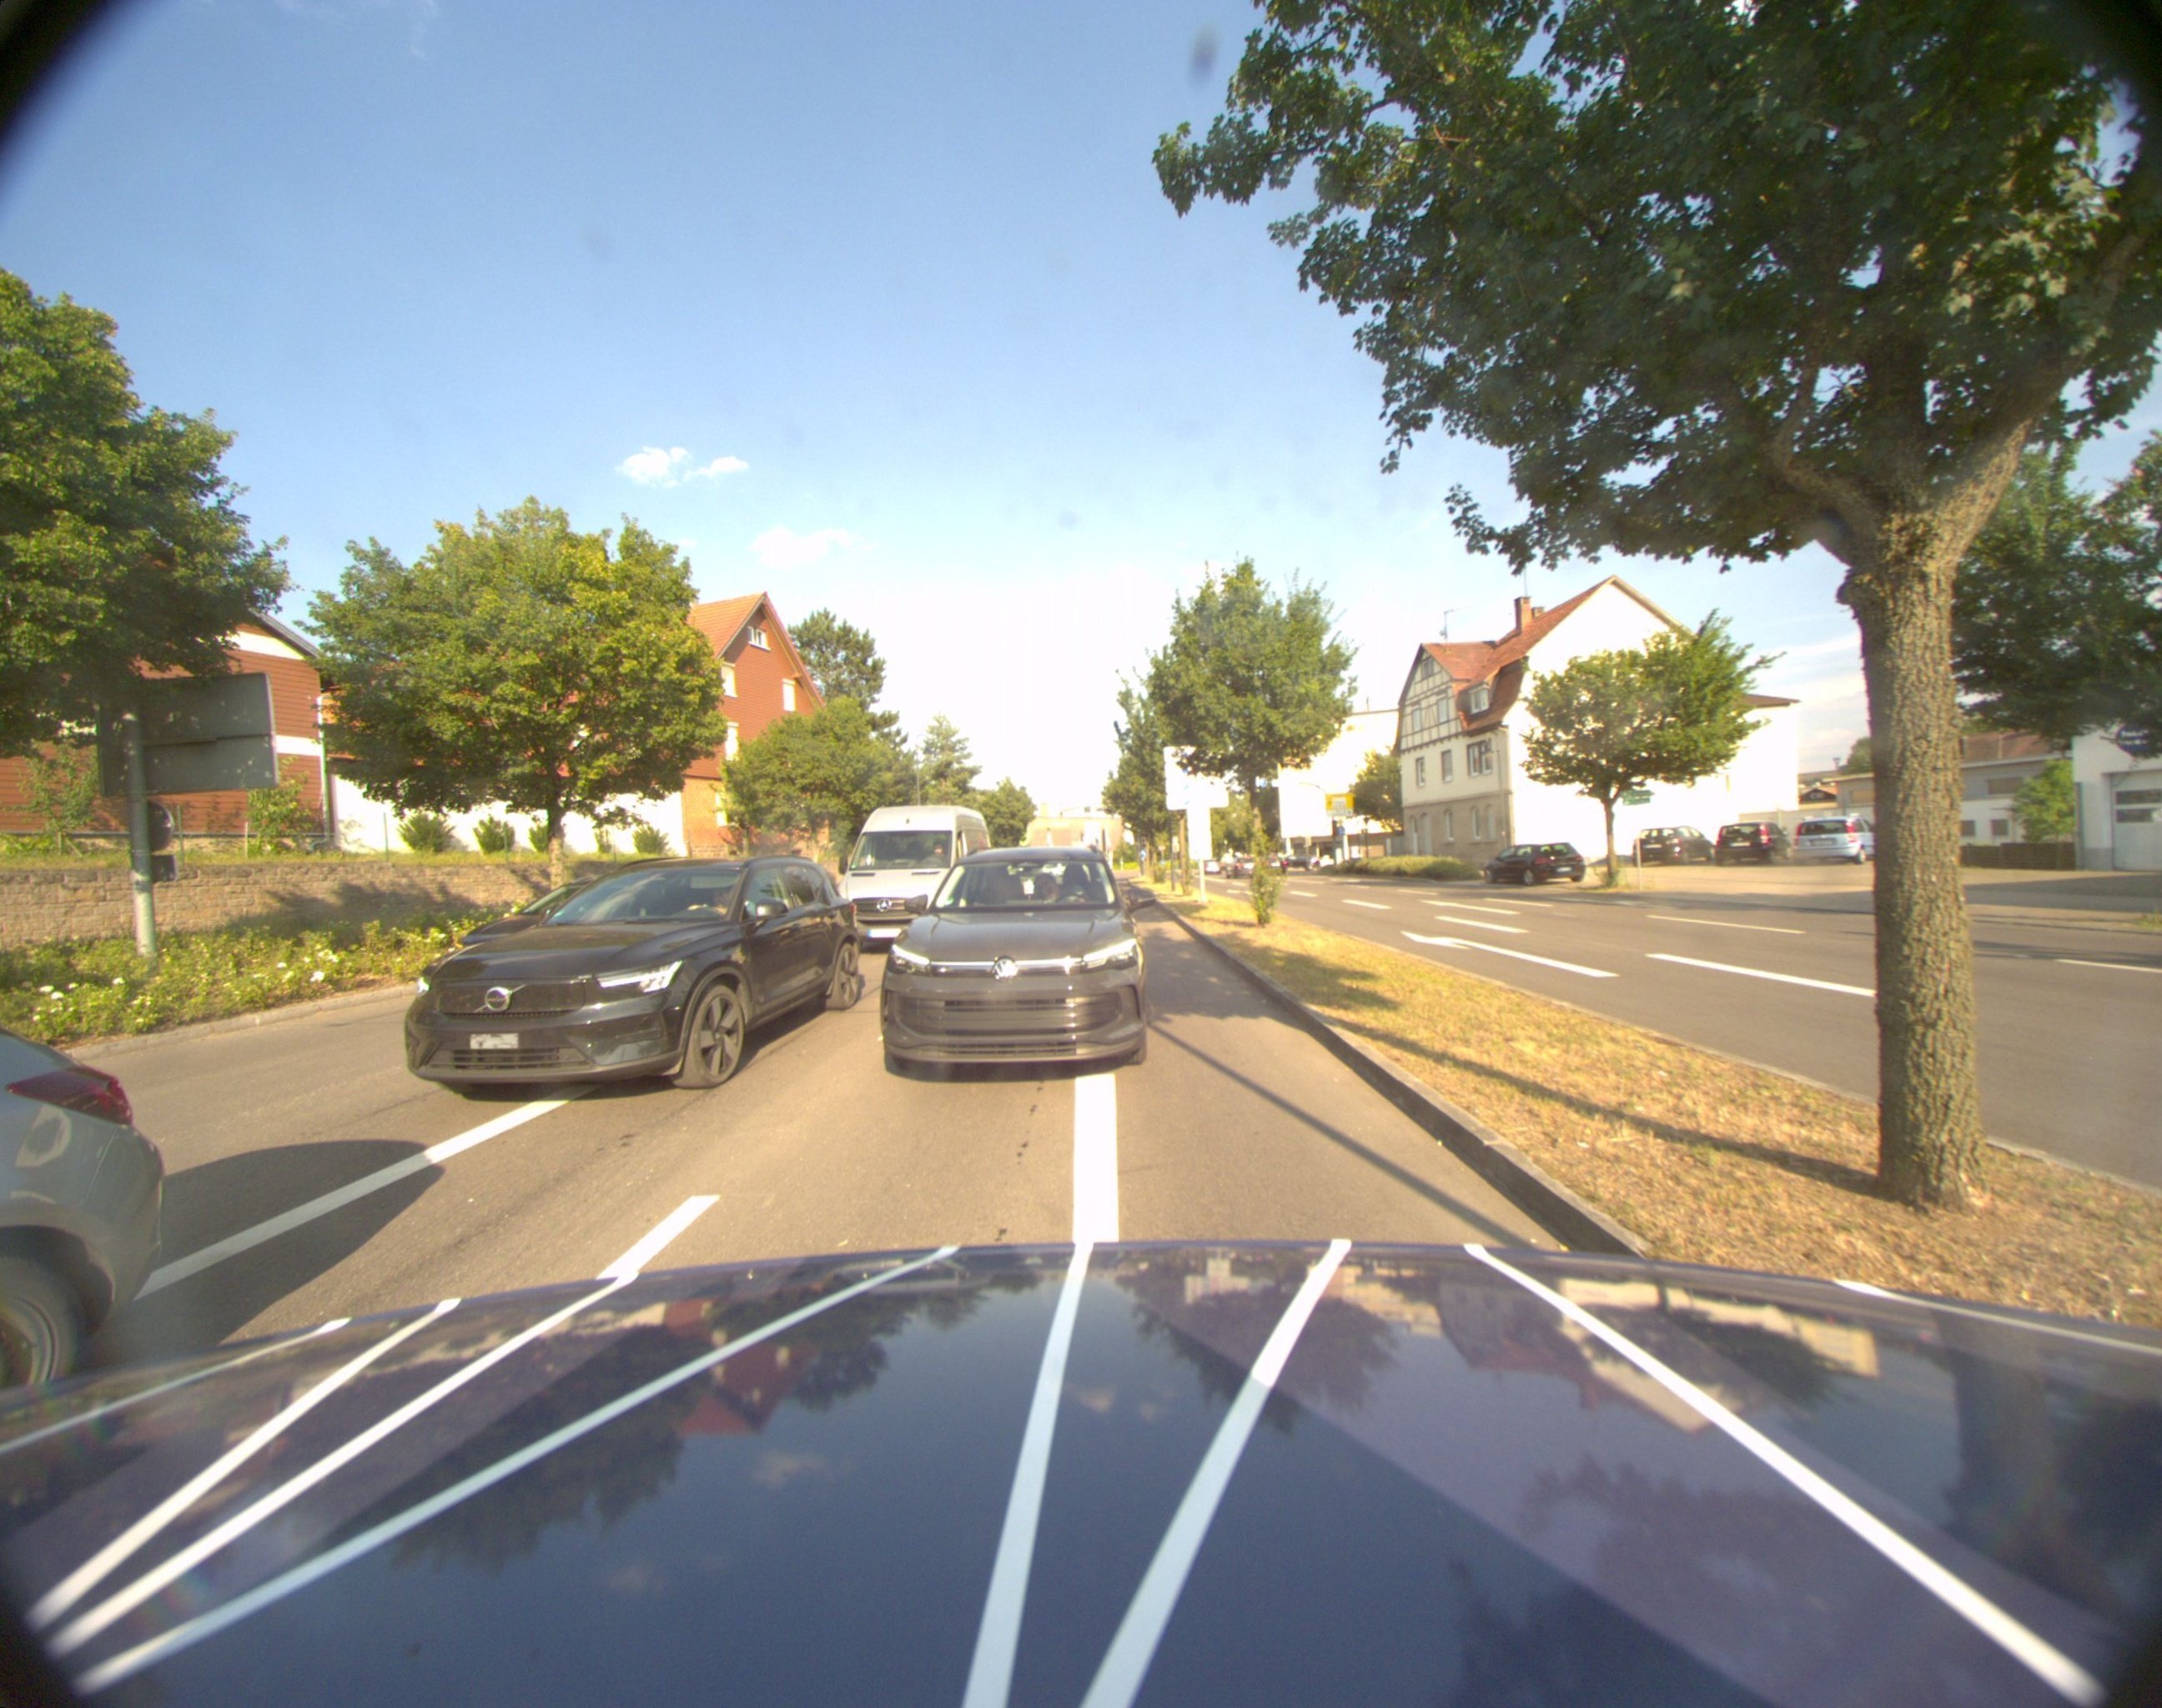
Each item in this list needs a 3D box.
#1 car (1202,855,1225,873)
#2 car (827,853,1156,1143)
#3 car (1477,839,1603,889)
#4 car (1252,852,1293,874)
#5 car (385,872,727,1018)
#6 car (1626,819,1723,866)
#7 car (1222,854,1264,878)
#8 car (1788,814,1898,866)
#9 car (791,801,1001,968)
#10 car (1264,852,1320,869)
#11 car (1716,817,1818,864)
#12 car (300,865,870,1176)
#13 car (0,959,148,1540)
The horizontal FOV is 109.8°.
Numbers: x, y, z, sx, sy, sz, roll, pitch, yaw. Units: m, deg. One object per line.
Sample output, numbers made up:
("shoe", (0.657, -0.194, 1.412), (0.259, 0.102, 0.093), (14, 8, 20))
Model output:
("car", (11.492, 0.828, 65.979), (1.783, 1.341, 4.481), (-2, 0, 10))
("car", (-0.473, 0.854, 6.860), (1.894, 1.647, 4.730), (-2, 0, 1))
("car", (16.007, 0.314, 26.787), (1.839, 1.435, 4.195), (-5, 0, 1))
("car", (14.032, 0.638, 55.977), (1.848, 1.413, 4.644), (-2, 0, 1))
("car", (-7.082, 1.109, 10.921), (1.820, 1.510, 4.201), (-2, 0, 2))
("car", (23.374, -0.448, 29.903), (4.006, 1.543, 1.764), (-4, 1, -33))
("car", (10.268, 0.703, 48.418), (1.649, 1.378, 4.189), (-2, 0, -1))
("car", (24.977, -0.483, 24.875), (4.006, 1.543, 1.763), (-2, 1, -33))
("car", (-3.220, 0.467, 14.986), (2.370, 2.532, 6.192), (-2, 0, 2))
("car", (19.221, 0.603, 69.400), (4.660, 1.346, 1.768), (-2, 1, 9))
("car", (24.903, -0.484, 27.549), (4.006, 1.543, 1.763), (-2, 1, -33))
("car", (-3.350, 0.971, 6.314), (1.886, 1.599, 4.128), (-2, 0, 2))
("car", (-3.640, 1.062, 0.131), (1.748, 1.433, 4.166), (-2, 0, 0))
